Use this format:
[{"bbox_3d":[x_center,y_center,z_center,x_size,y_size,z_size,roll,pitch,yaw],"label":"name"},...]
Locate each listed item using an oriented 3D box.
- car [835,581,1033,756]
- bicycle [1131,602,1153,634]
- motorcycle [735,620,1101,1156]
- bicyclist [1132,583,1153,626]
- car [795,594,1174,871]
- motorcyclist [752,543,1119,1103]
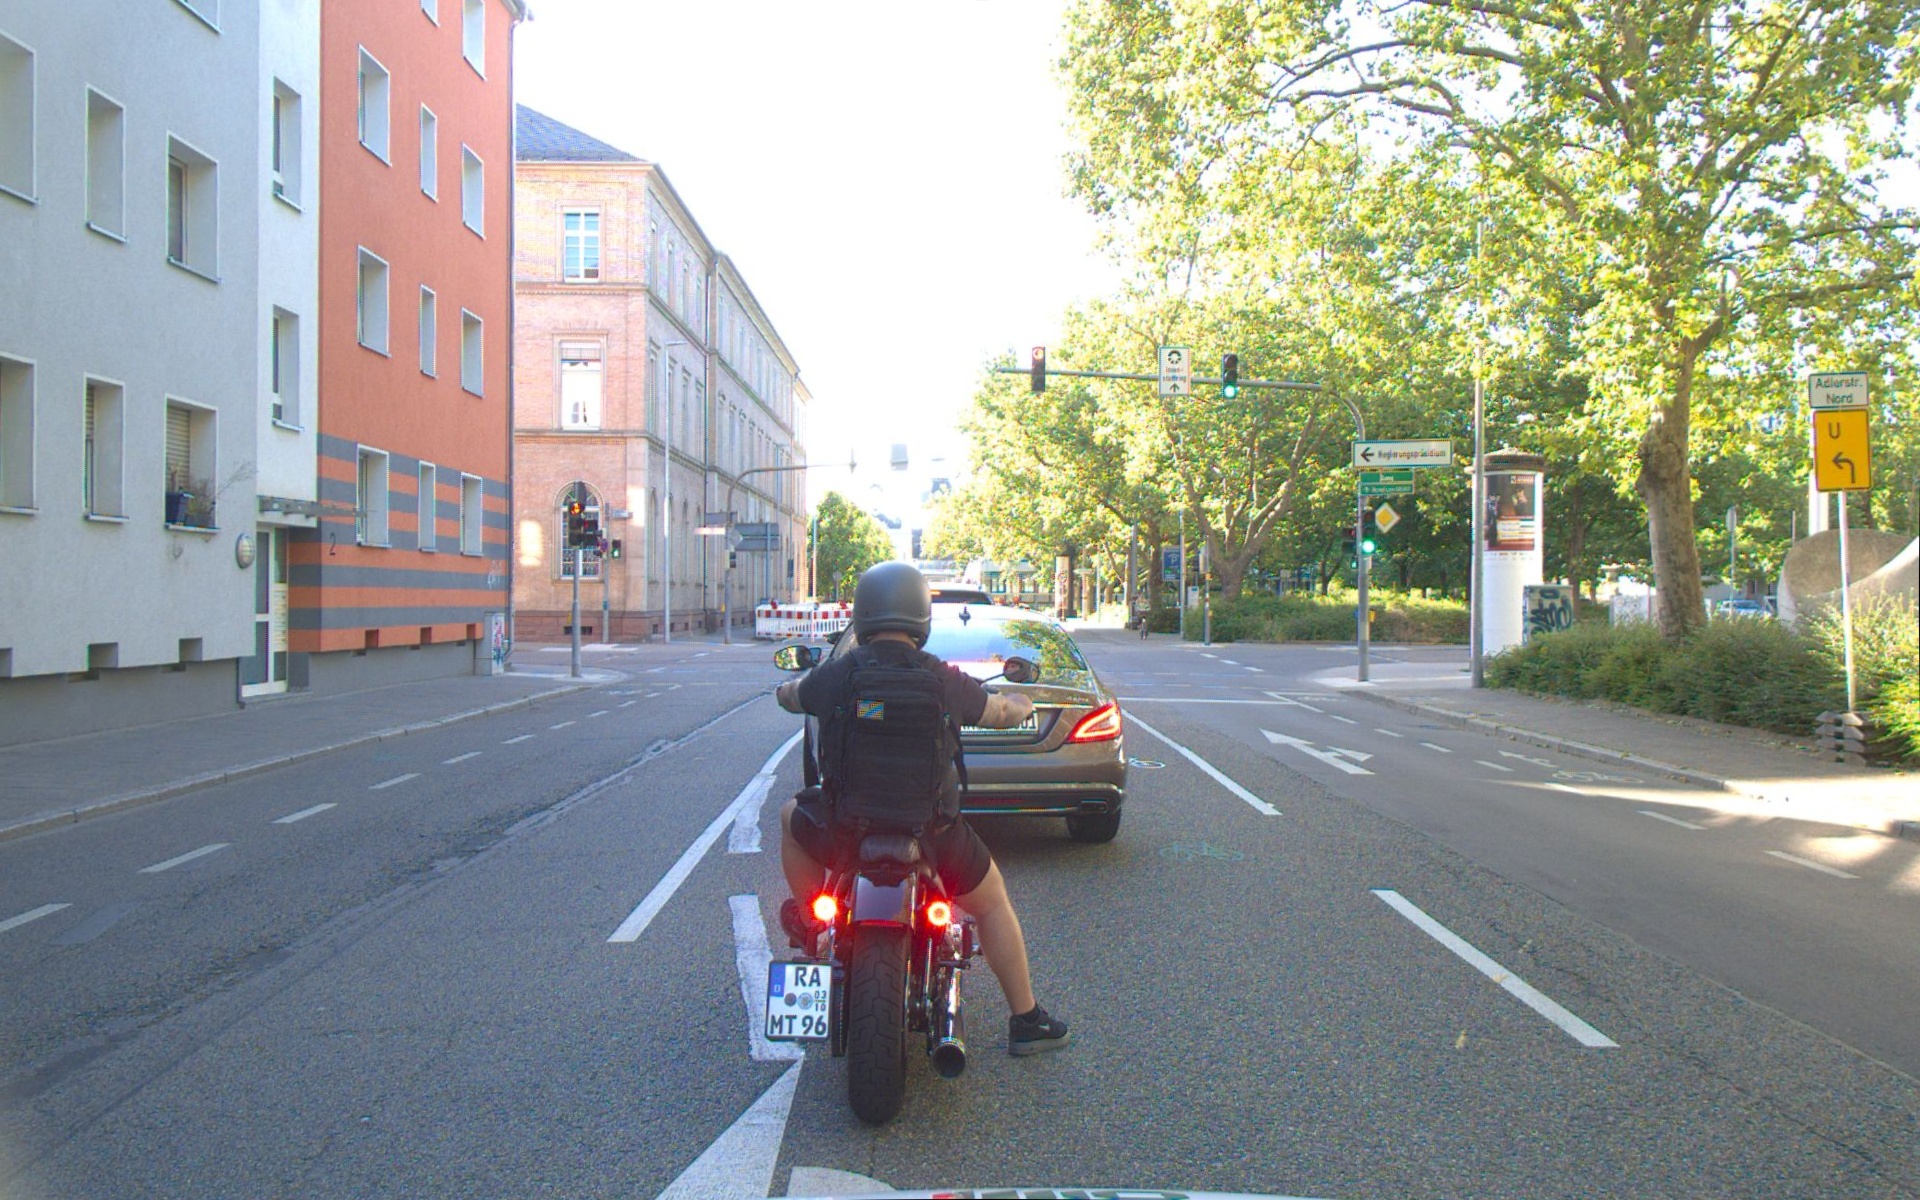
[{"bbox_3d":[-0.339,0.609,16.752,1.777,1.563,3.846,0,0,-3],"label":"car"},{"bbox_3d":[6.913,0.689,62.818,0.701,1.193,2.177,1,0,3],"label":"bicycle"},{"bbox_3d":[-0.125,0.774,5.521,0.942,1.380,2.319,1,0,-1],"label":"motorcycle"},{"bbox_3d":[6.918,0.176,62.697,0.701,1.610,0.936,1,0,3],"label":"bicyclist"},{"bbox_3d":[-0.061,0.700,11.069,1.867,1.466,4.280,0,0,-9],"label":"car"},{"bbox_3d":[-0.075,0.650,5.252,1.039,1.610,0.908,1,0,-1],"label":"motorcyclist"}]
